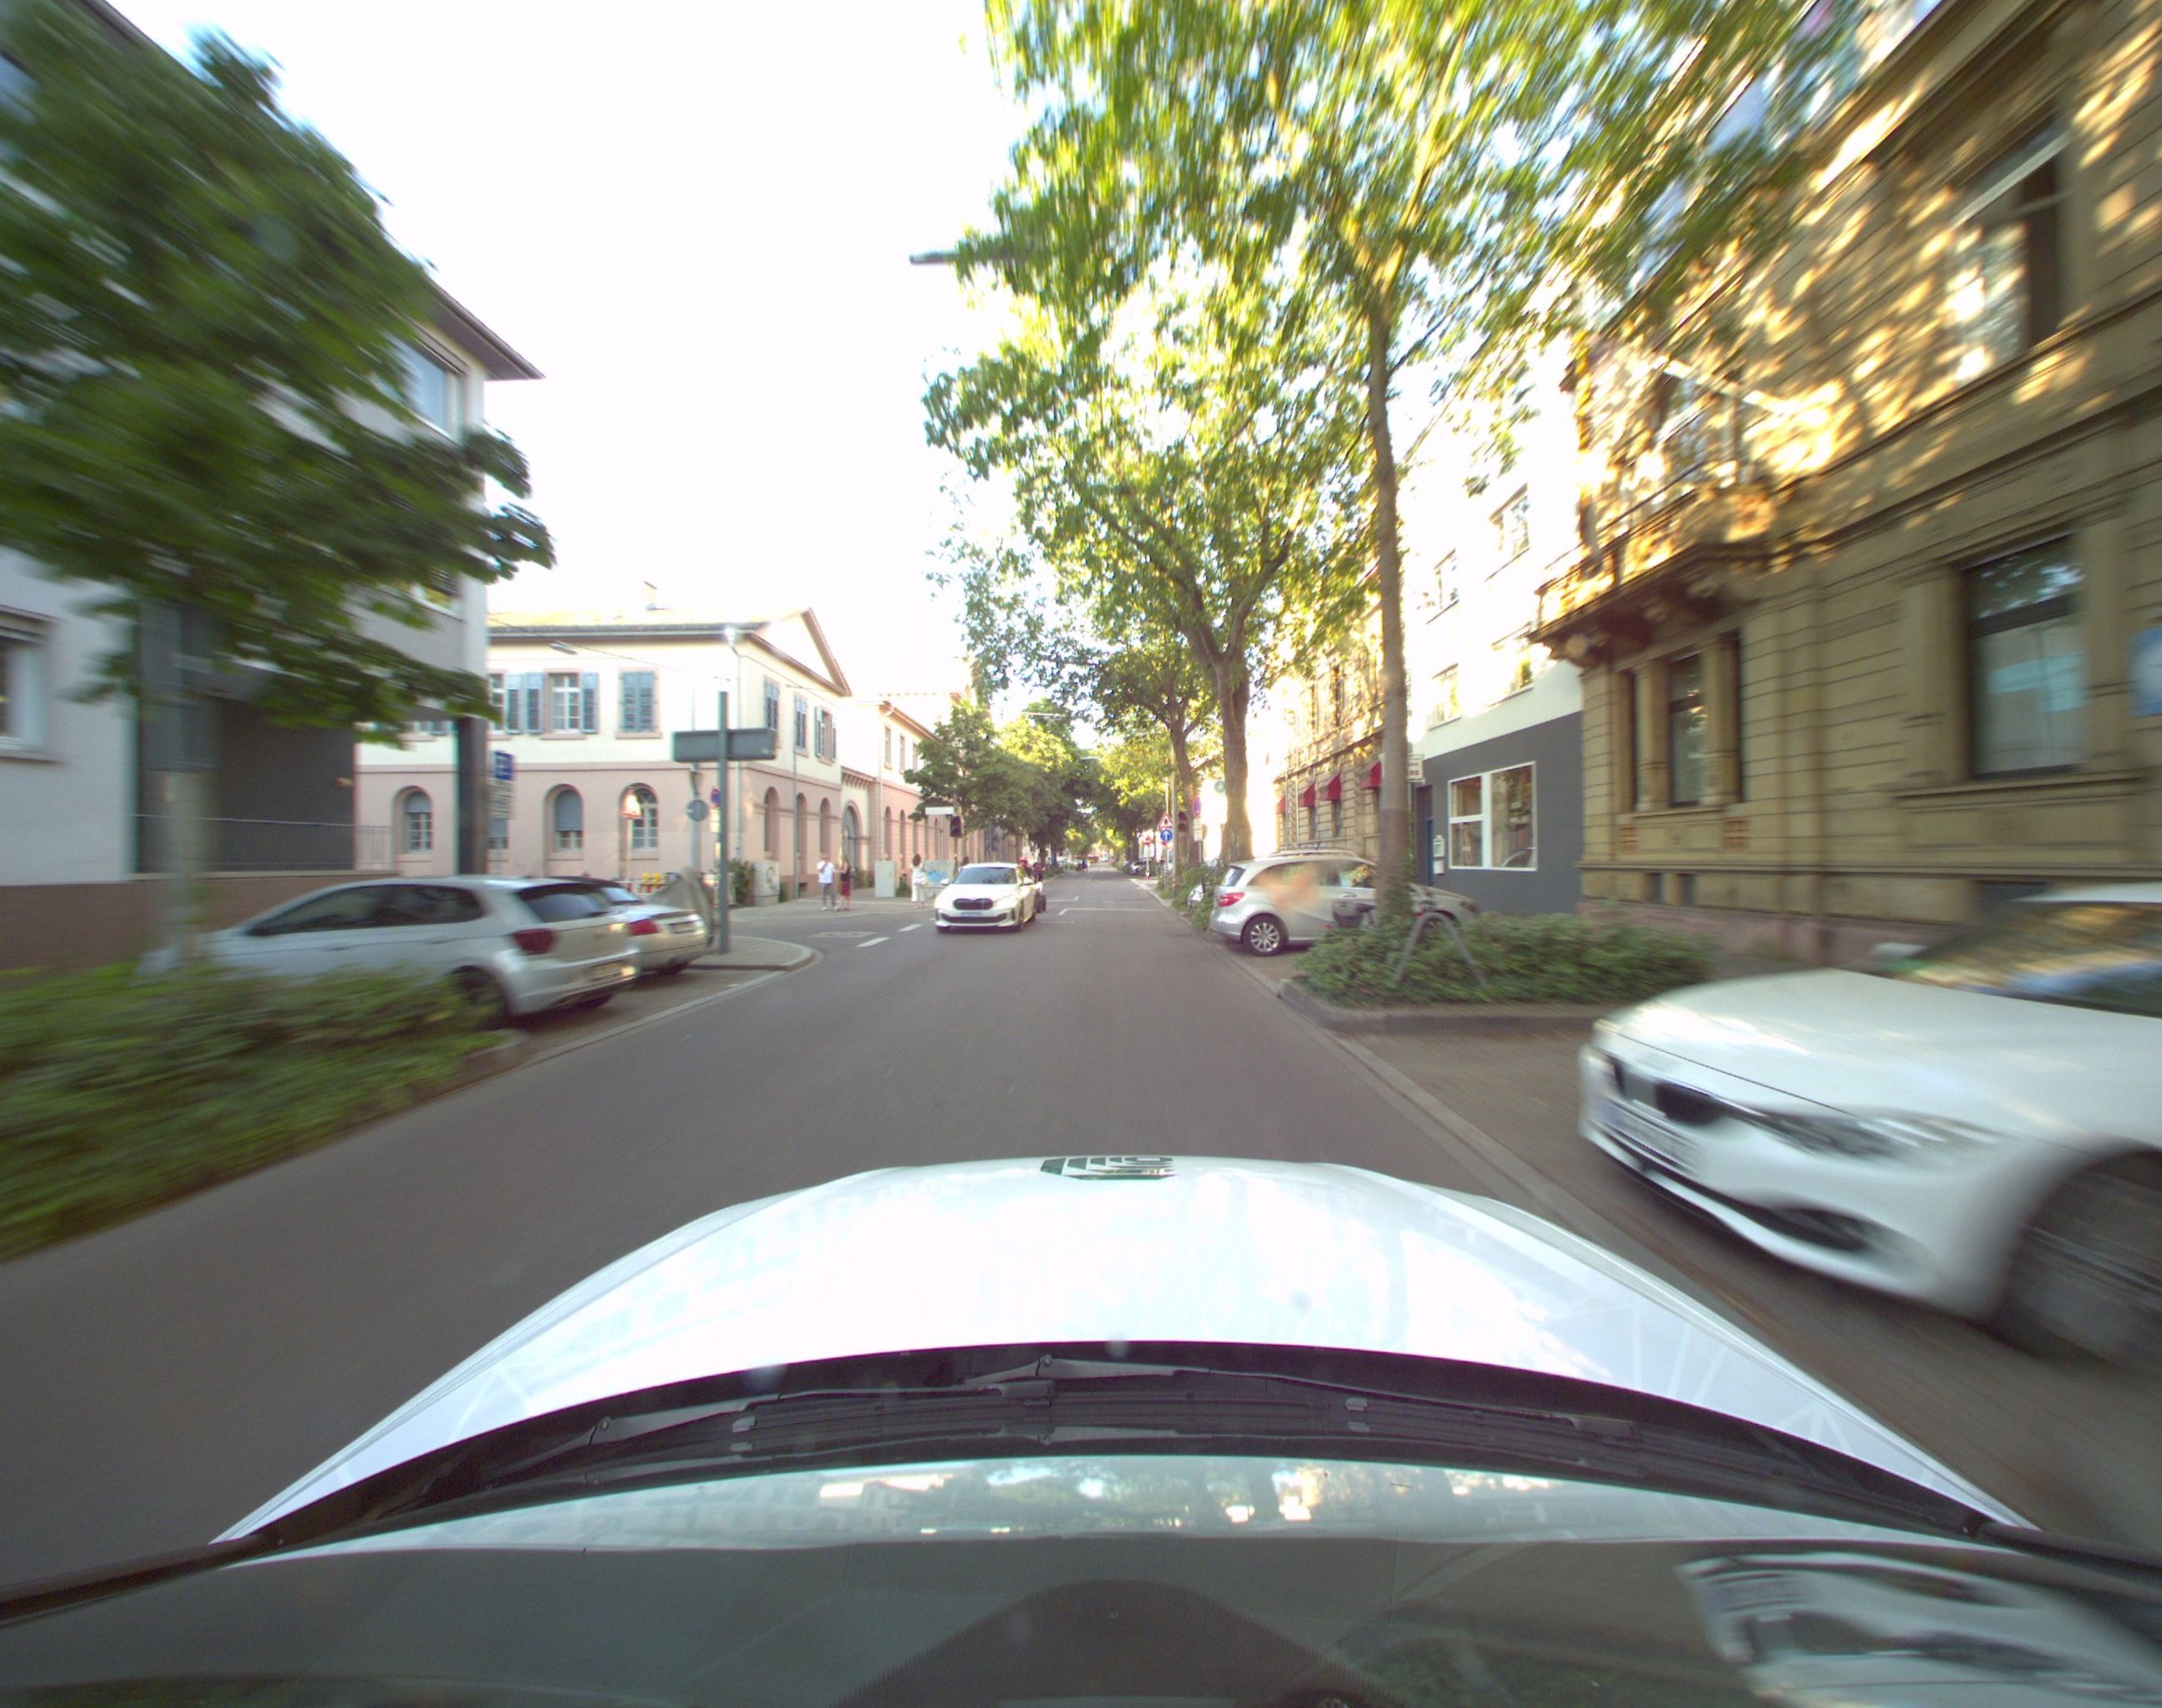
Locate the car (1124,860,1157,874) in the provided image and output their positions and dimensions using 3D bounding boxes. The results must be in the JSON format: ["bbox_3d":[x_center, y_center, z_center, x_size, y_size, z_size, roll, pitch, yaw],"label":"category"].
[{"bbox_3d":[7.322,1.574,100.524,4.001,1.623,1.780,-1,-1,0],"label":"car"}]

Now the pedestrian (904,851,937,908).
[{"bbox_3d":[-5.186,0.810,26.368,0.787,1.791,0.772,2,0,4],"label":"pedestrian"}]

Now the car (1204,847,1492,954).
[{"bbox_3d":[4.237,0.724,13.534,4.205,1.560,1.973,-1,0,4],"label":"car"}]

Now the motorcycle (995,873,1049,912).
[{"bbox_3d":[-1.711,1.108,24.128,1.307,1.090,2.397,-1,-1,2],"label":"motorcycle"}]

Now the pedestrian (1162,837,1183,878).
[{"bbox_3d":[4.864,0.199,43.271,1.039,2.146,1.064,1,-1,2],"label":"pedestrian"}]

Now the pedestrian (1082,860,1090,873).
[{"bbox_3d":[0.632,1.591,101.769,0.870,1.650,0.656,0,-1,9],"label":"pedestrian"}]

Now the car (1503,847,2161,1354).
[{"bbox_3d":[4.467,0.697,3.245,4.564,1.437,1.927,-1,0,3],"label":"car"}]

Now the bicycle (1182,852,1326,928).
[{"bbox_3d":[3.873,0.797,18.292,3.106,1.663,0.658,0,-1,-3],"label":"bicycle"}]

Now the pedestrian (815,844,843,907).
[{"bbox_3d":[-7.612,0.640,24.604,0.550,1.850,0.614,0,-1,16],"label":"pedestrian"}]

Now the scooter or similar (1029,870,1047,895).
[{"bbox_3d":[-1.950,1.287,37.109,0.498,1.145,1.254,-1,-1,12],"label":"scooter or similar"}]

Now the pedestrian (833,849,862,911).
[{"bbox_3d":[-6.999,0.769,24.426,0.550,1.850,0.614,0,1,16],"label":"pedestrian"}]

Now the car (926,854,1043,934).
[{"bbox_3d":[-2.024,0.809,18.279,1.869,1.549,4.278,-1,0,3],"label":"car"}]

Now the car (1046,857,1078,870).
[{"bbox_3d":[-3.118,1.573,133.844,5.046,2.083,2.263,-1,0,1],"label":"car"}]

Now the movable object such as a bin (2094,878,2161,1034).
[{"bbox_3d":[7.816,0.710,5.687,0.655,1.064,0.615,-2,-1,1],"label":"movable object such as a bin"}]

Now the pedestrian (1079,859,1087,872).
[{"bbox_3d":[0.278,1.414,101.012,0.870,1.650,0.656,0,-1,9],"label":"pedestrian"}]

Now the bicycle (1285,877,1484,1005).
[{"bbox_3d":[3.270,0.902,8.796,2.020,1.204,0.486,-3,-1,-11],"label":"bicycle"}]

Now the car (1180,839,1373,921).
[{"bbox_3d":[4.967,0.641,21.136,4.527,1.915,1.949,-1,0,-1],"label":"car"}]

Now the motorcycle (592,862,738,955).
[{"bbox_3d":[-6.820,0.865,13.359,2.129,1.419,0.973,-1,-1,23],"label":"motorcycle"}]

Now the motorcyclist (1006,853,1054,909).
[{"bbox_3d":[-1.491,0.791,24.015,1.275,1.592,1.077,-1,-1,2],"label":"motorcyclist"}]

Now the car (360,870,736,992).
[{"bbox_3d":[-6.806,0.929,10.662,3.721,1.311,1.847,1,0,5],"label":"car"}]

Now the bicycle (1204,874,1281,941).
[{"bbox_3d":[3.048,1.003,15.387,1.332,1.204,0.488,-2,-1,0],"label":"bicycle"}]

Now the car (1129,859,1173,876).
[{"bbox_3d":[6.845,1.349,79.708,4.177,1.480,1.853,-2,0,1],"label":"car"}]

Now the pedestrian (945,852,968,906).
[{"bbox_3d":[-4.380,0.872,28.713,0.768,1.888,0.790,-1,-1,-10],"label":"pedestrian"}]

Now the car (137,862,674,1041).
[{"bbox_3d":[-6.307,0.854,7.948,3.728,1.458,1.735,1,0,0],"label":"car"}]

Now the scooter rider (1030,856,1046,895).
[{"bbox_3d":[-1.951,0.974,37.134,0.491,1.791,0.877,-1,-1,12],"label":"scooter rider"}]

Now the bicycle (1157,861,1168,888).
[{"bbox_3d":[4.246,1.071,42.331,0.414,1.372,1.293,-1,-1,13],"label":"bicycle"}]

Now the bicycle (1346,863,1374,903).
[{"bbox_3d":[8.849,0.898,25.889,0.383,1.211,1.727,-1,-1,4],"label":"bicycle"}]

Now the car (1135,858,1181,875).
[{"bbox_3d":[7.025,1.161,74.615,4.094,1.490,1.850,0,0,0],"label":"car"}]
